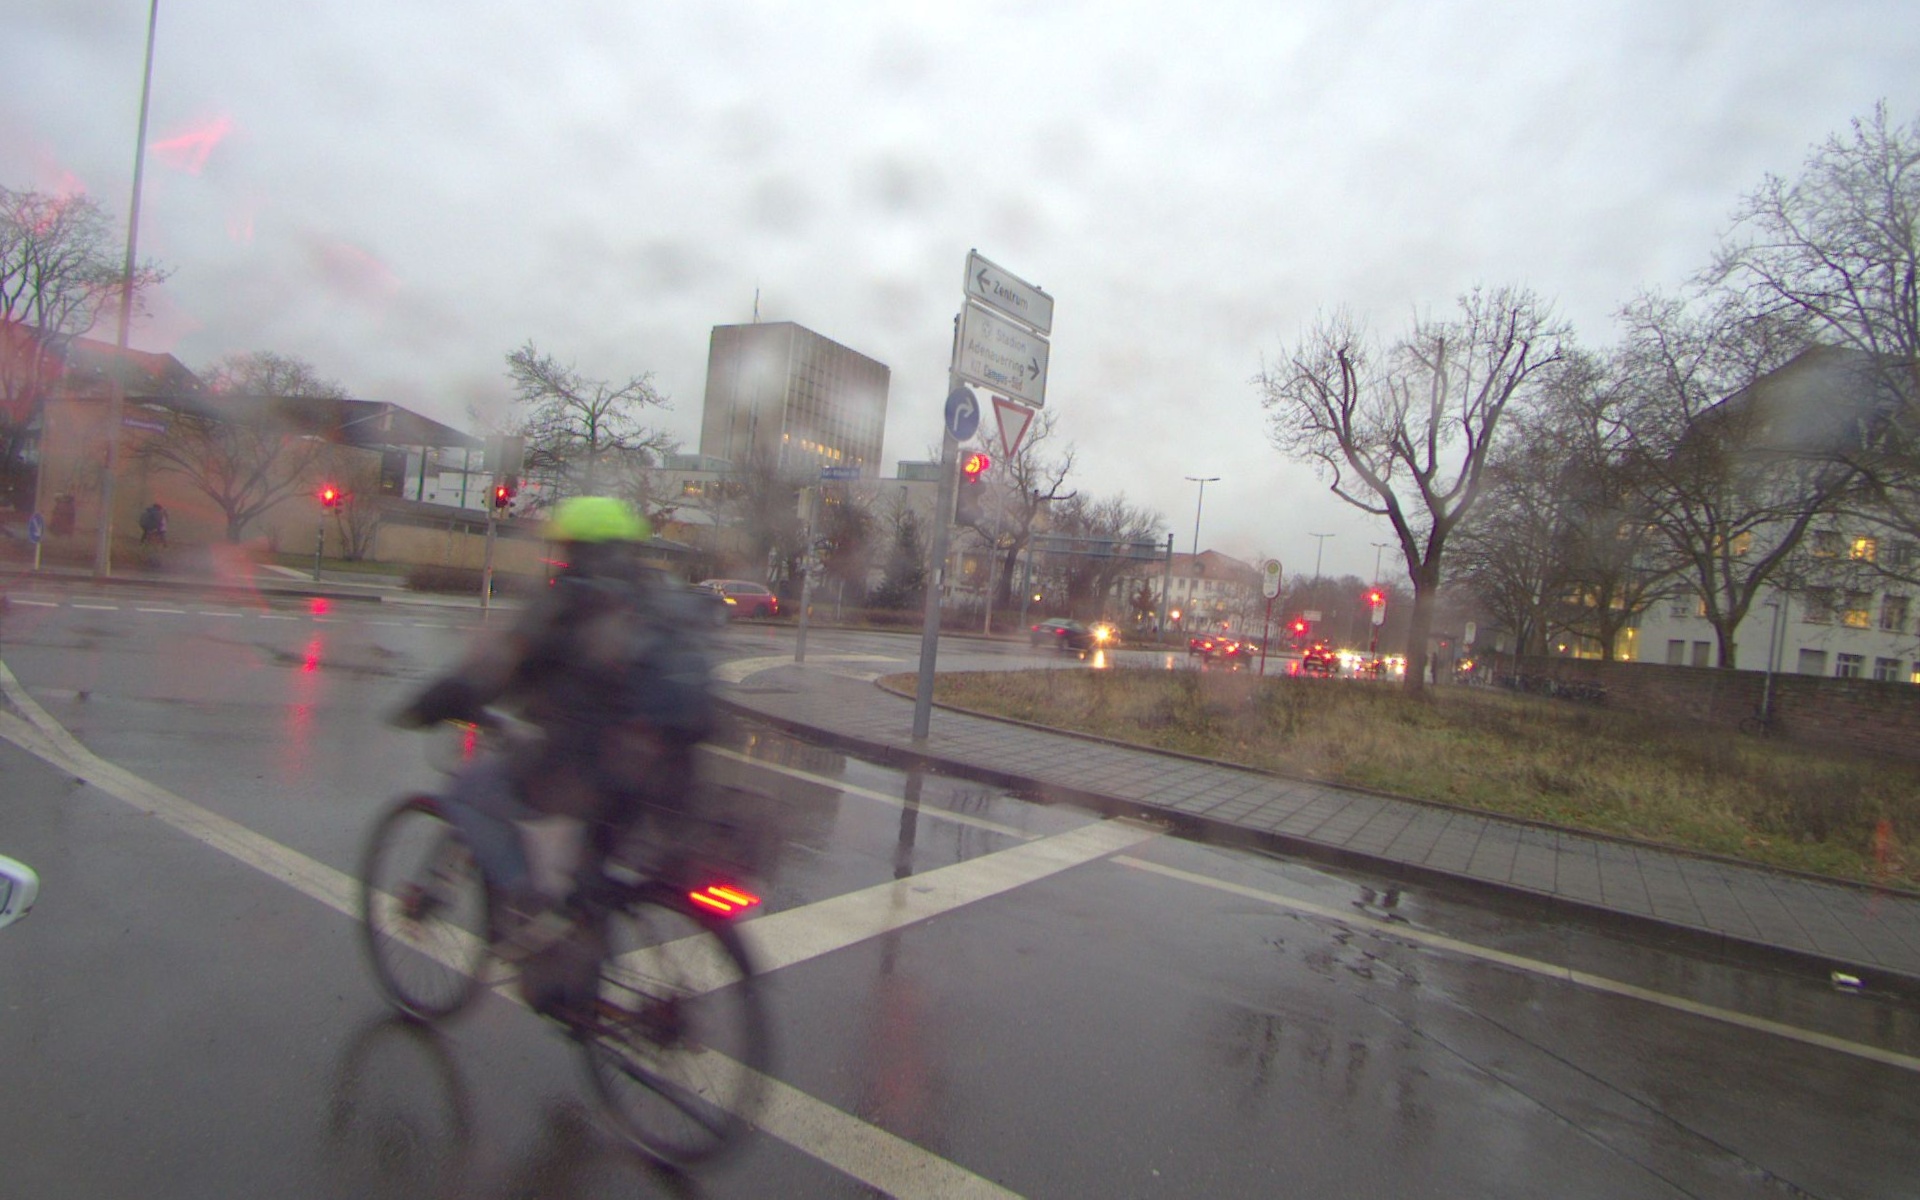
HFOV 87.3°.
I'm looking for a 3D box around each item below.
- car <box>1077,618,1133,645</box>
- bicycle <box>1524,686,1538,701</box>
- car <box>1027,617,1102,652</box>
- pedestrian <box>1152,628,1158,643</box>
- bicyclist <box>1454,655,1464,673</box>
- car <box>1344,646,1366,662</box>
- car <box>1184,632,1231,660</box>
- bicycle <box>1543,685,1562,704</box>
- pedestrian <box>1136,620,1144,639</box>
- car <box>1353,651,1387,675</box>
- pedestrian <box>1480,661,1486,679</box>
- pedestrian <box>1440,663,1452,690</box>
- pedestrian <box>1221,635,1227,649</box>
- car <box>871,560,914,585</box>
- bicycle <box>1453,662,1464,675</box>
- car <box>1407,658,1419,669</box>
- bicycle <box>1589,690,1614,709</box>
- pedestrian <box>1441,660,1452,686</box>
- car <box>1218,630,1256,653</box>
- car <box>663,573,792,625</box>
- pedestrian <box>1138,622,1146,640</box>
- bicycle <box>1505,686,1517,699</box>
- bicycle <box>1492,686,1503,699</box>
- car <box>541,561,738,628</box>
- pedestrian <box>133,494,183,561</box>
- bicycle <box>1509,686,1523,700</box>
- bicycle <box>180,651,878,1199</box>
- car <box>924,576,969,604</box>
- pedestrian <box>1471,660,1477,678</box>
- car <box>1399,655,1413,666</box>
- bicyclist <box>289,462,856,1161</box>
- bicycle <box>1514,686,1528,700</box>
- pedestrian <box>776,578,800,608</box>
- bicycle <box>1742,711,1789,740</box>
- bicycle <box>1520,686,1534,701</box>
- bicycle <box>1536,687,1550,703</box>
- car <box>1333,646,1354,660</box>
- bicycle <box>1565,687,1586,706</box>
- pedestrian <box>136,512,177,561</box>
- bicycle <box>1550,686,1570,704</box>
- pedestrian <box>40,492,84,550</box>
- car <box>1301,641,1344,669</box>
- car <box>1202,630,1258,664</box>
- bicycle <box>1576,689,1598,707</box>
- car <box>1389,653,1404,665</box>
[{"bbox_3d":[9.650,2.100,66.715,1.783,1.496,4.412,6,0,35],"label":"car"},{"bbox_3d":[32.842,5.398,57.874,0.387,0.795,1.532,7,-2,19],"label":"bicycle"},{"bbox_3d":[4.789,1.579,45.581,1.675,1.318,3.754,6,0,35],"label":"car"},{"bbox_3d":[21.881,3.978,112.947,0.409,1.725,0.432,7,2,23],"label":"pedestrian"},{"bbox_3d":[47.725,6.100,96.274,0.599,1.660,0.453,7,-1,19],"label":"bicyclist"},{"bbox_3d":[51.654,7.053,131.497,1.966,1.783,3.992,7,1,29],"label":"car"},{"bbox_3d":[16.370,3.086,66.449,1.810,1.602,4.128,6,0,30],"label":"car"},{"bbox_3d":[31.842,5.069,54.095,0.387,0.927,1.532,7,-2,15],"label":"bicycle"},{"bbox_3d":[17.404,2.837,97.125,0.411,1.725,0.430,8,3,44],"label":"pedestrian"},{"bbox_3d":[34.243,5.275,83.977,1.811,1.710,4.311,6,0,32],"label":"car"},{"bbox_3d":[53.687,7.155,103.294,0.313,1.816,0.461,7,2,32],"label":"pedestrian"},{"bbox_3d":[30.153,4.726,62.426,0.462,1.623,0.486,7,-1,25],"label":"pedestrian"},{"bbox_3d":[32.978,5.236,125.675,0.404,1.713,0.561,7,2,28],"label":"pedestrian"},{"bbox_3d":[-7.126,-2.928,106.418,2.014,2.102,4.892,6,0,30],"label":"car"},{"bbox_3d":[47.663,6.561,96.240,0.599,1.181,1.682,7,-2,19],"label":"bicycle"},{"bbox_3d":[87.832,12.295,194.991,1.834,1.783,3.993,7,1,27],"label":"car"},{"bbox_3d":[30.275,4.668,47.484,0.352,0.795,1.415,7,-2,8],"label":"bicycle"},{"bbox_3d":[39.975,5.980,82.620,0.557,2.040,0.595,8,2,33],"label":"pedestrian"},{"bbox_3d":[26.686,3.986,96.753,2.014,1.903,5.325,6,0,31],"label":"car"},{"bbox_3d":[-8.393,-0.003,36.658,1.784,1.496,4.411,6,0,37],"label":"car"},{"bbox_3d":[18.557,3.161,102.553,0.411,1.725,0.430,8,3,44],"label":"pedestrian"},{"bbox_3d":[34.852,5.859,63.634,0.387,0.795,1.532,7,-2,20],"label":"bicycle"},{"bbox_3d":[36.393,6.239,68.114,0.387,0.795,1.532,7,-2,20],"label":"bicycle"},{"bbox_3d":[-8.487,-0.100,27.007,1.911,1.318,4.678,6,0,39],"label":"car"},{"bbox_3d":[-27.500,-2.465,34.508,0.869,2.141,0.895,7,2,20],"label":"pedestrian"},{"bbox_3d":[34.351,5.735,62.159,0.387,0.795,1.532,7,-2,20],"label":"bicycle"},{"bbox_3d":[-1.300,0.823,2.902,1.925,1.087,0.785,6,-2,32],"label":"bicycle"},{"bbox_3d":[-1.352,-0.999,103.362,2.014,2.452,5.326,6,0,30],"label":"car"},{"bbox_3d":[53.166,7.114,103.984,0.313,1.816,0.461,7,2,32],"label":"pedestrian"},{"bbox_3d":[79.728,10.782,179.857,1.834,1.783,3.993,7,1,27],"label":"car"},{"bbox_3d":[-1.051,0.444,2.764,1.115,1.470,0.785,6,-1,32],"label":"bicyclist"},{"bbox_3d":[33.830,5.607,60.671,0.387,0.795,1.532,7,-2,20],"label":"bicycle"},{"bbox_3d":[-10.160,-0.395,59.302,0.783,1.624,0.960,8,2,39],"label":"pedestrian"},{"bbox_3d":[28.201,4.397,35.234,0.387,0.834,1.386,7,-2,-4],"label":"bicycle"},{"bbox_3d":[33.324,5.481,59.153,0.387,0.795,1.532,7,-2,20],"label":"bicycle"},{"bbox_3d":[32.414,5.284,55.961,0.387,0.795,1.607,7,-2,22],"label":"bicycle"},{"bbox_3d":[53.438,7.375,140.180,1.966,1.783,3.992,7,1,29],"label":"car"},{"bbox_3d":[31.038,4.871,50.752,0.343,0.848,1.493,7,-2,13],"label":"bicycle"},{"bbox_3d":[-28.190,-2.222,35.288,0.921,1.553,1.029,5,2,-45],"label":"pedestrian"},{"bbox_3d":[31.357,4.974,52.564,0.387,0.868,1.532,7,-2,15],"label":"bicycle"},{"bbox_3d":[-30.446,-2.673,34.118,0.992,1.823,0.908,5,2,-41],"label":"pedestrian"},{"bbox_3d":[26.016,3.971,72.149,1.812,1.710,4.312,6,-1,34],"label":"car"},{"bbox_3d":[14.993,2.639,55.672,1.811,1.602,4.128,6,0,31],"label":"car"},{"bbox_3d":[30.549,4.764,49.008,0.387,0.795,1.532,7,-2,14],"label":"bicycle"},{"bbox_3d":[73.187,9.862,168.582,1.834,1.783,3.993,7,1,27],"label":"car"}]
